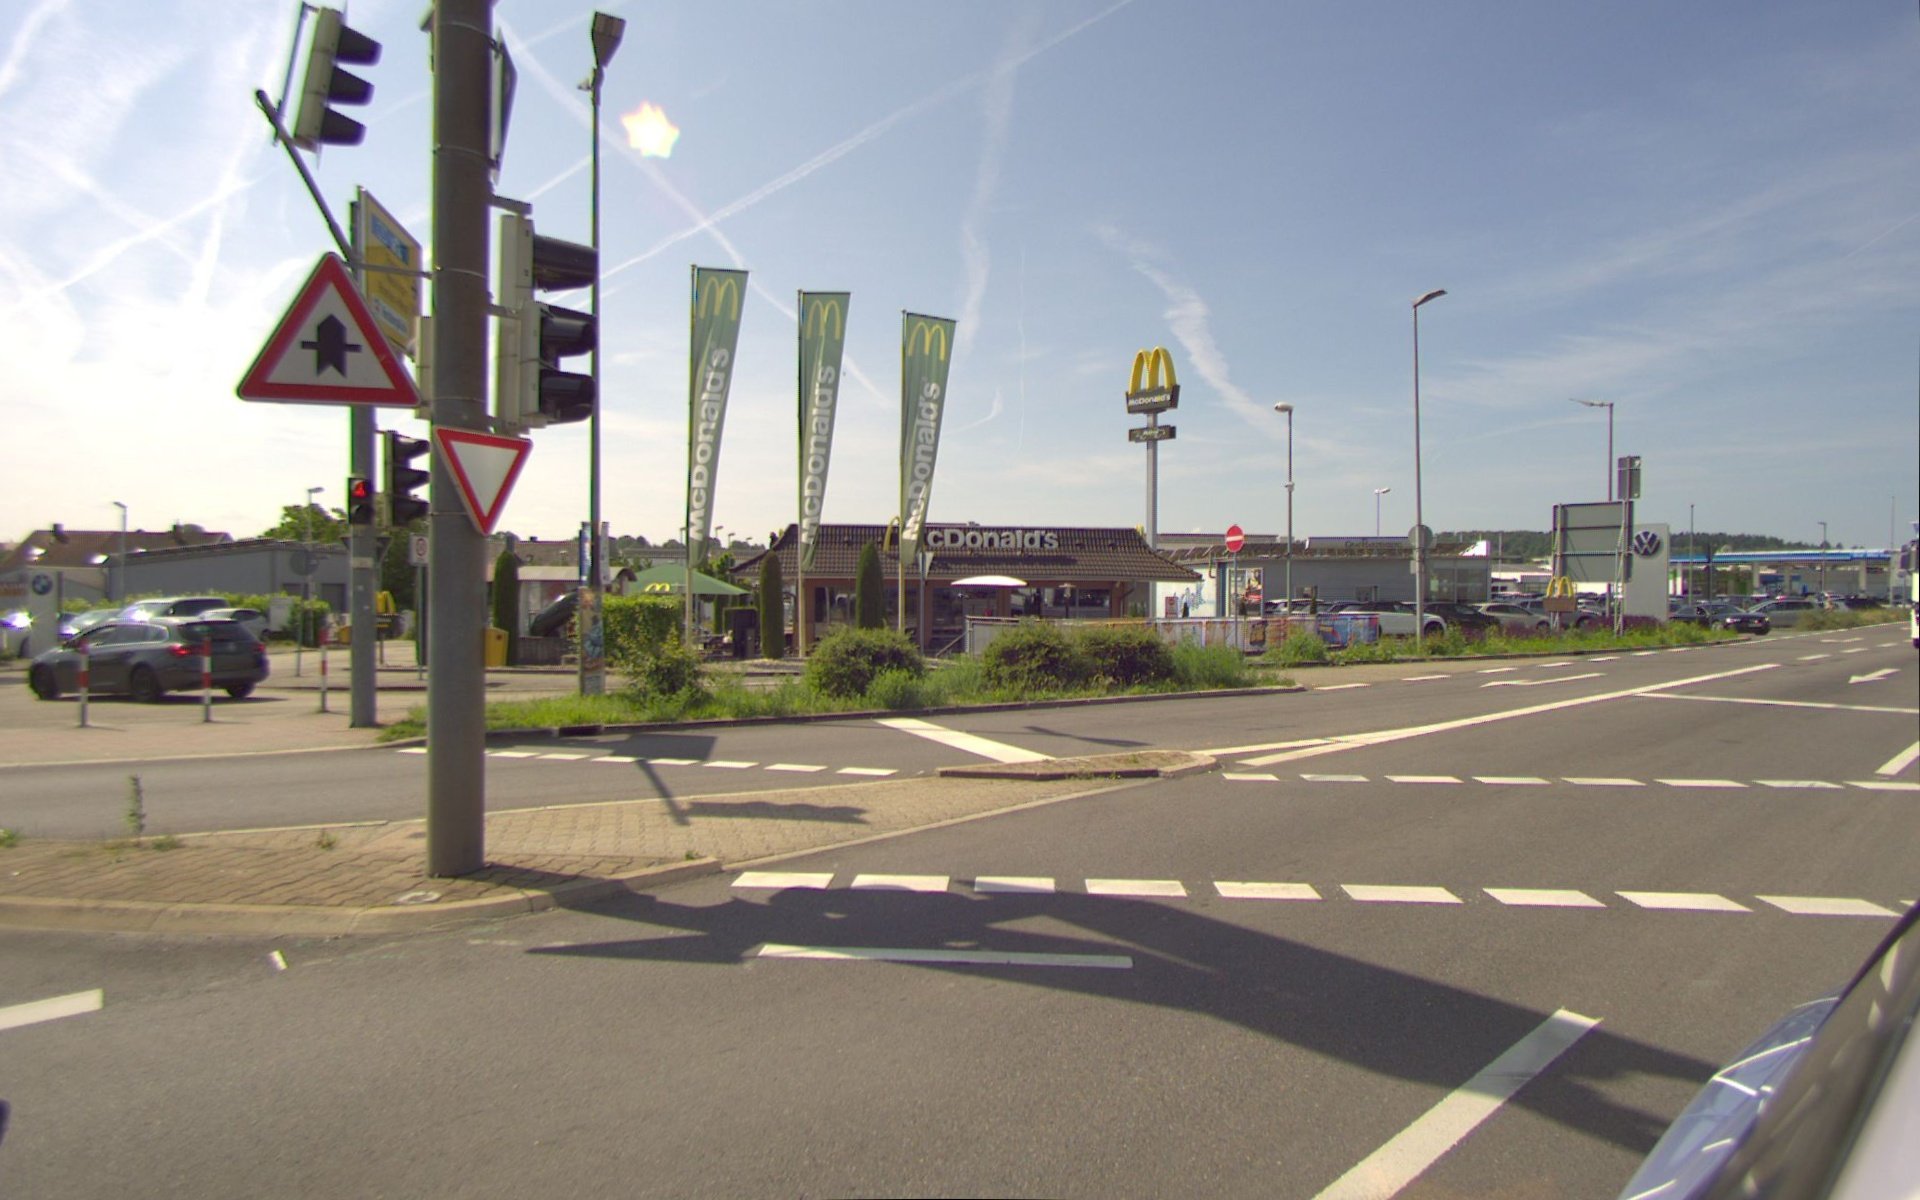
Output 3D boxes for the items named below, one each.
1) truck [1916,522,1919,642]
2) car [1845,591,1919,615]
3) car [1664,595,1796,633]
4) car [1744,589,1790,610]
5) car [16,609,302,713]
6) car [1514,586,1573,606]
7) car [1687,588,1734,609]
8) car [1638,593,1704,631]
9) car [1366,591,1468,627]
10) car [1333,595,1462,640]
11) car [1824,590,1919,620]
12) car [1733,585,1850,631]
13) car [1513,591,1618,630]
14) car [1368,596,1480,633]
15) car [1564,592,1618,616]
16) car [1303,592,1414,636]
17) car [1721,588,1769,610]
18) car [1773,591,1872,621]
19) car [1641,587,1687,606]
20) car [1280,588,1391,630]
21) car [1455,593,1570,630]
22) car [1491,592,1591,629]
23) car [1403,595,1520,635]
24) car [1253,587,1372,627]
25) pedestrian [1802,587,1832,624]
[{"bbox_3d":[30.556,-0.784,29.664,5.930,4.036,2.649,0,1,-37],"label":"truck"},{"bbox_3d":[68.171,0.222,74.234,4.489,1.675,1.762,2,1,24],"label":"car"},{"bbox_3d":[31.558,0.604,41.694,1.931,1.350,4.808,-3,-2,5],"label":"car"},{"bbox_3d":[67.431,-0.054,84.589,4.451,1.600,1.776,0,2,-35],"label":"car"},{"bbox_3d":[-14.437,1.018,18.282,4.390,1.538,1.989,2,1,18],"label":"car"},{"bbox_3d":[50.044,-0.339,86.841,4.442,1.603,1.827,1,1,-18],"label":"car"},{"bbox_3d":[61.898,-0.145,83.442,4.451,1.675,1.776,0,2,-35],"label":"car"},{"bbox_3d":[33.560,0.522,47.874,1.757,1.675,4.044,-1,1,24],"label":"car"},{"bbox_3d":[21.070,0.390,46.775,3.881,1.537,1.778,1,1,-4],"label":"car"},{"bbox_3d":[16.894,0.648,39.171,4.149,1.596,1.863,1,1,-4],"label":"car"},{"bbox_3d":[55.725,0.297,61.898,3.947,1.675,1.766,1,1,18],"label":"car"},{"bbox_3d":[43.505,0.399,53.057,4.296,2.240,1.752,2,1,21],"label":"car"},{"bbox_3d":[29.014,0.466,48.609,3.975,1.691,1.765,2,1,20],"label":"car"},{"bbox_3d":[20.403,0.624,44.587,4.072,1.468,1.798,1,1,-4],"label":"car"},{"bbox_3d":[46.787,0.308,75.050,4.452,1.675,1.776,0,2,-35],"label":"car"},{"bbox_3d":[16.447,0.551,41.864,3.832,1.691,1.778,1,1,-4],"label":"car"},{"bbox_3d":[62.964,-0.064,81.190,4.451,1.675,1.776,0,2,-35],"label":"car"},{"bbox_3d":[50.088,0.347,58.861,3.954,1.578,1.700,2,1,23],"label":"car"},{"bbox_3d":[63.387,-0.331,91.092,4.448,1.675,1.778,0,2,-31],"label":"car"},{"bbox_3d":[16.235,0.384,43.900,4.087,1.691,1.778,1,1,-4],"label":"car"},{"bbox_3d":[24.576,0.499,45.107,4.179,1.510,1.751,1,1,-4],"label":"car"},{"bbox_3d":[29.217,0.483,51.014,3.940,1.691,1.913,1,1,14],"label":"car"},{"bbox_3d":[20.921,0.607,42.300,4.009,1.551,1.778,1,1,-4],"label":"car"},{"bbox_3d":[16.015,0.318,46.135,4.722,1.691,1.915,1,1,-4],"label":"car"},{"bbox_3d":[45.458,0.292,53.685,0.975,1.935,0.740,1,1,16],"label":"pedestrian"}]
